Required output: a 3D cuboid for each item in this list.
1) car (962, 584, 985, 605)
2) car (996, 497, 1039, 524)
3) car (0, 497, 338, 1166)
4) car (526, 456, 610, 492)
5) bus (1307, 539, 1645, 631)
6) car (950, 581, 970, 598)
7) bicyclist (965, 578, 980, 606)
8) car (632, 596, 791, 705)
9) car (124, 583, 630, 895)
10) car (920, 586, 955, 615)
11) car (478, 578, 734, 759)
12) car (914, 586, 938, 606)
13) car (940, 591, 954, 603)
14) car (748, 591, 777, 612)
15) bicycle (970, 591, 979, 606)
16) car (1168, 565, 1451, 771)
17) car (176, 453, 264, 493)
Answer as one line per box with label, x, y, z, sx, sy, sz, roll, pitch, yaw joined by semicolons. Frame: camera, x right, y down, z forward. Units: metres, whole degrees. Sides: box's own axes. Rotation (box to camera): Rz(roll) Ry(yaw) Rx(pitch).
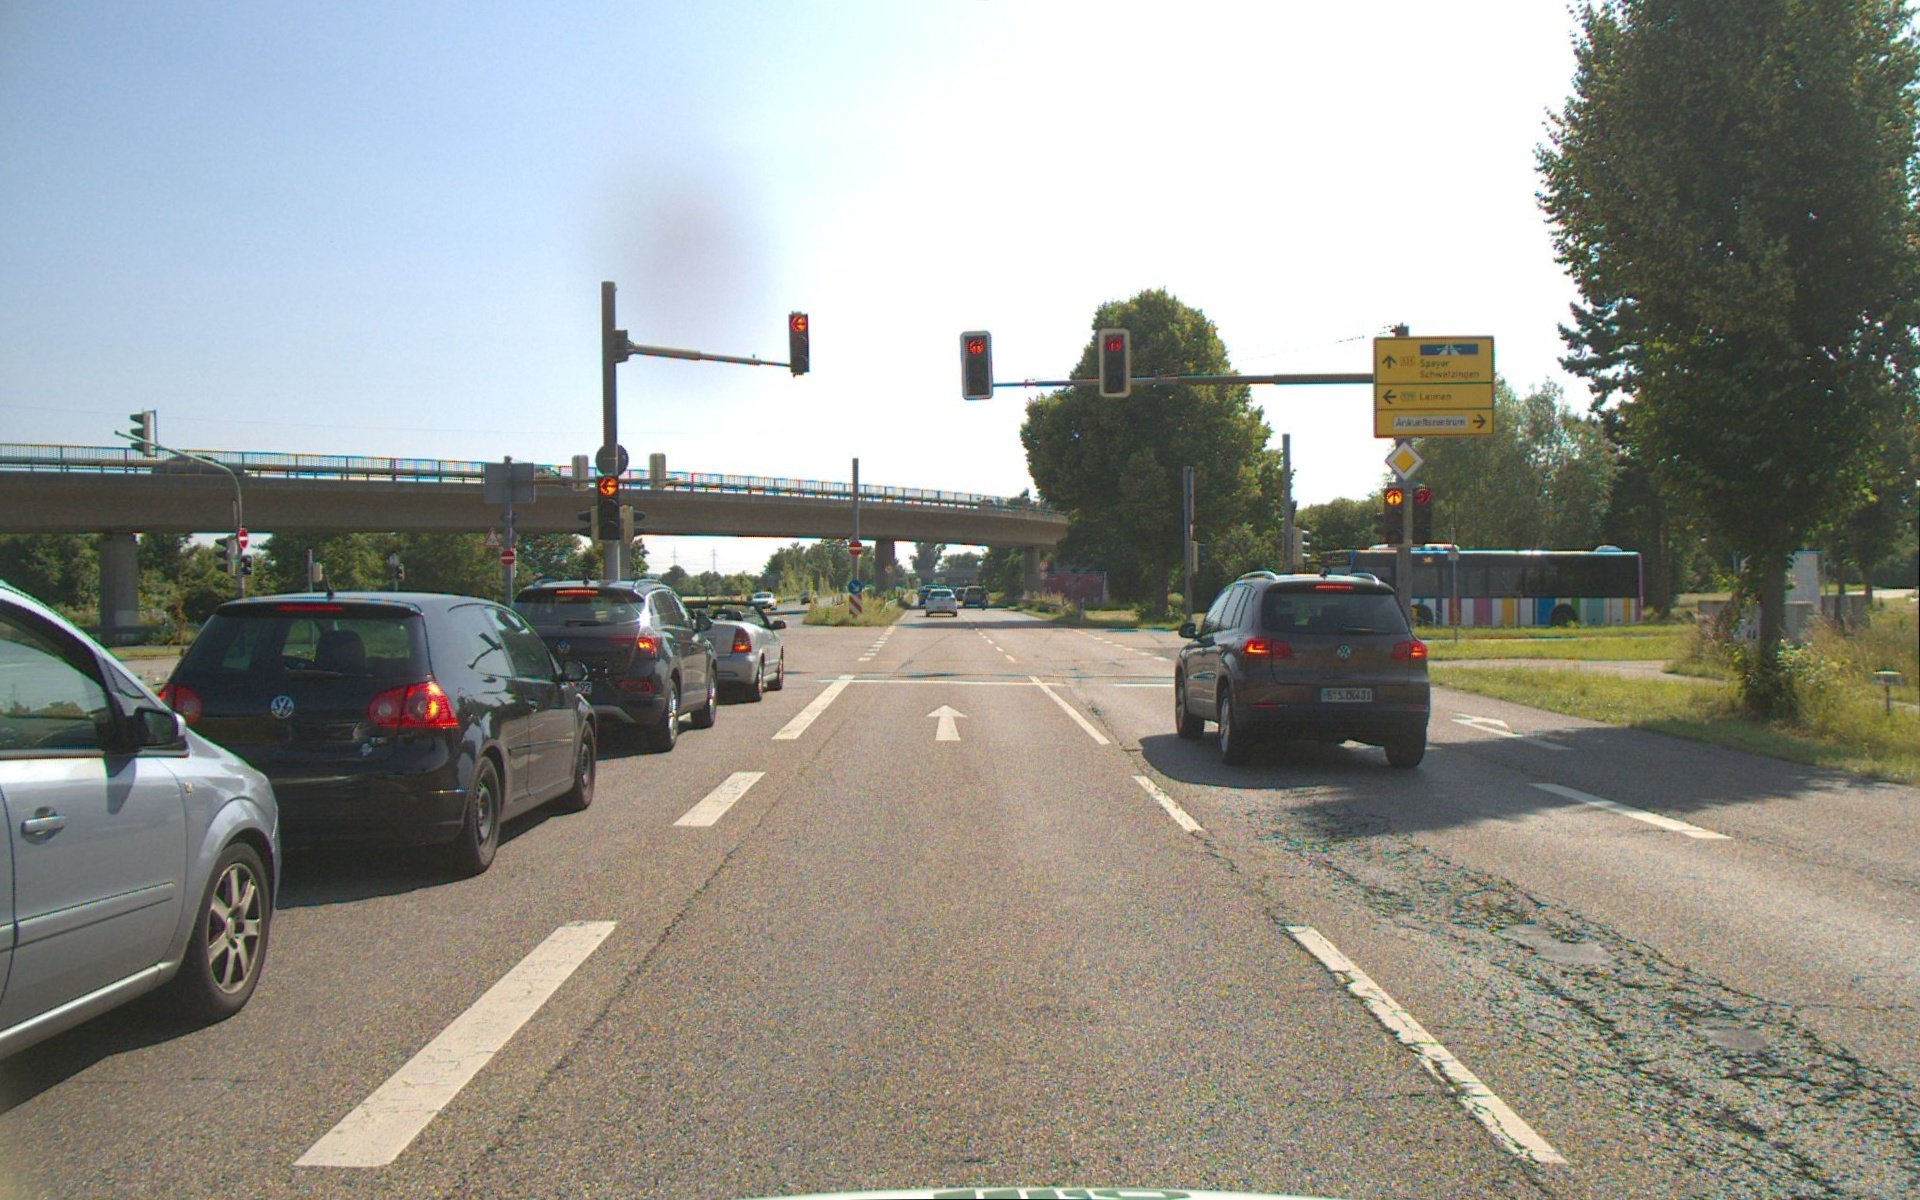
car;1.098;-0.448;136.526;1.835;1.668;4.000;1;0;0
car;4.554;-7.057;130.558;1.954;1.870;3.996;1;-1;26
car;-3.291;0.581;4.325;1.706;1.701;4.356;0;1;-1
car;-20.504;-6.588;86.620;1.960;1.512;3.985;1;-1;36
bus;18.227;-0.573;58.350;11.744;2.927;2.929;-1;0;-16
car;-0.020;-1.102;172.704;1.953;1.660;3.999;2;-1;-1
bicyclist;0.867;-0.577;114.026;0.987;1.919;1.326;-1;0;-2
car;-3.381;0.643;23.161;1.639;1.358;4.097;0;1;-1
car;-3.213;0.646;10.008;1.632;1.500;4.097;0;1;-1
car;-1.183;0.015;88.521;1.813;1.486;4.000;1;0;0
car;-3.372;0.575;16.494;1.693;1.574;4.097;0;1;-1
car;-2.715;-0.334;132.083;1.835;1.518;4.000;0;0;0
car;-1.837;-0.406;231.888;1.953;1.684;3.999;2;-1;-1
car;-15.738;0.115;131.830;1.845;1.541;4.146;-3;0;-2
bicycle;0.992;-0.120;113.921;0.588;1.000;2.360;-1;0;-1
car;3.178;0.562;15.856;1.720;1.684;4.145;1;0;-2
car;-31.670;-5.408;70.829;1.298;1.512;3.183;-1;0;38
